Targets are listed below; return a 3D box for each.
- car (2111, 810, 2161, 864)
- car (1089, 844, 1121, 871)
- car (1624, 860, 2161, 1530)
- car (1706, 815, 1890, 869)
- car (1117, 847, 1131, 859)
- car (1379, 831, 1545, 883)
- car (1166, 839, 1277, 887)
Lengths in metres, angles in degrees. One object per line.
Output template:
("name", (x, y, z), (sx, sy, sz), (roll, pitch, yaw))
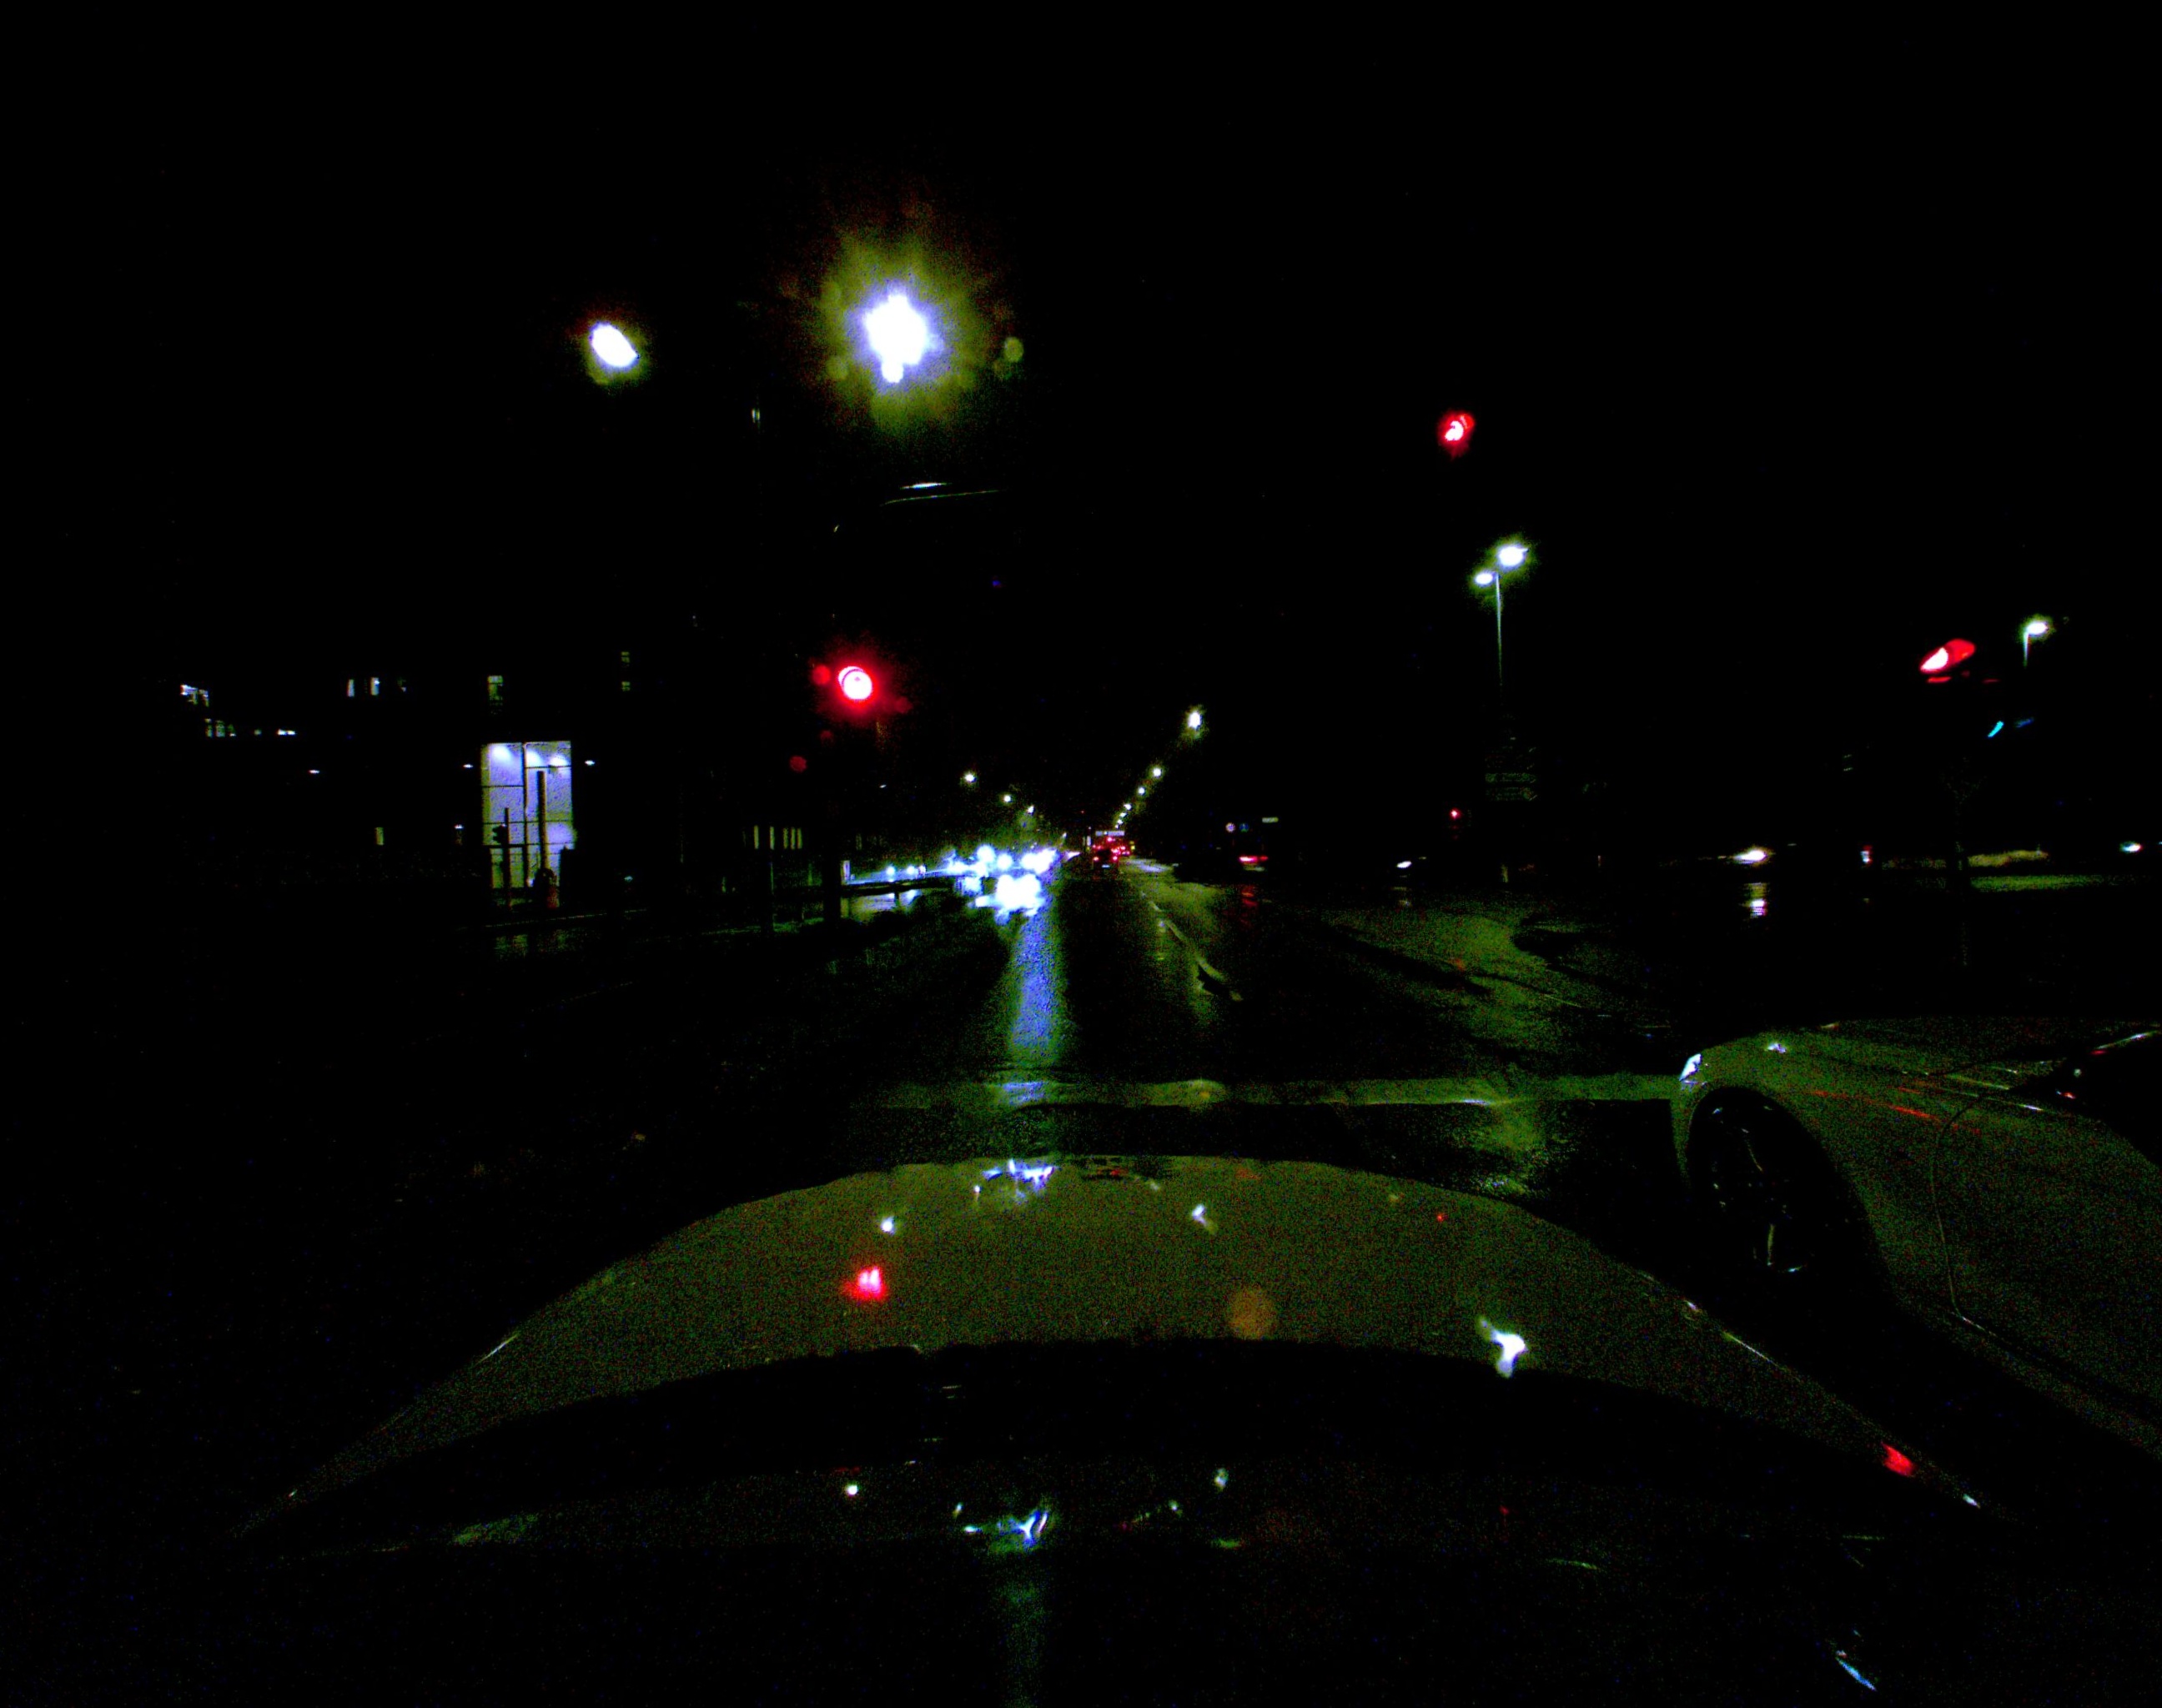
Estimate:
("car", (37.391, -0.567, 26.737), (4.469, 1.749, 1.862), (0, -1, 5))
("car", (1.606, 0.246, 53.865), (1.986, 1.705, 4.634), (0, -1, 2))
("car", (3.118, 0.715, 1.297), (1.710, 1.404, 4.351), (0, -1, 2))
("car", (24.185, -0.377, 27.642), (4.358, 1.741, 1.914), (0, -1, 8))
("car", (6.307, -0.151, 120.586), (1.986, 1.759, 4.001), (0, -1, 2))
("car", (13.226, 0.120, 28.544), (4.877, 1.741, 1.975), (0, -1, 6))
("car", (6.275, 0.393, 36.701), (4.574, 2.014, 2.012), (-1, -1, 42))
